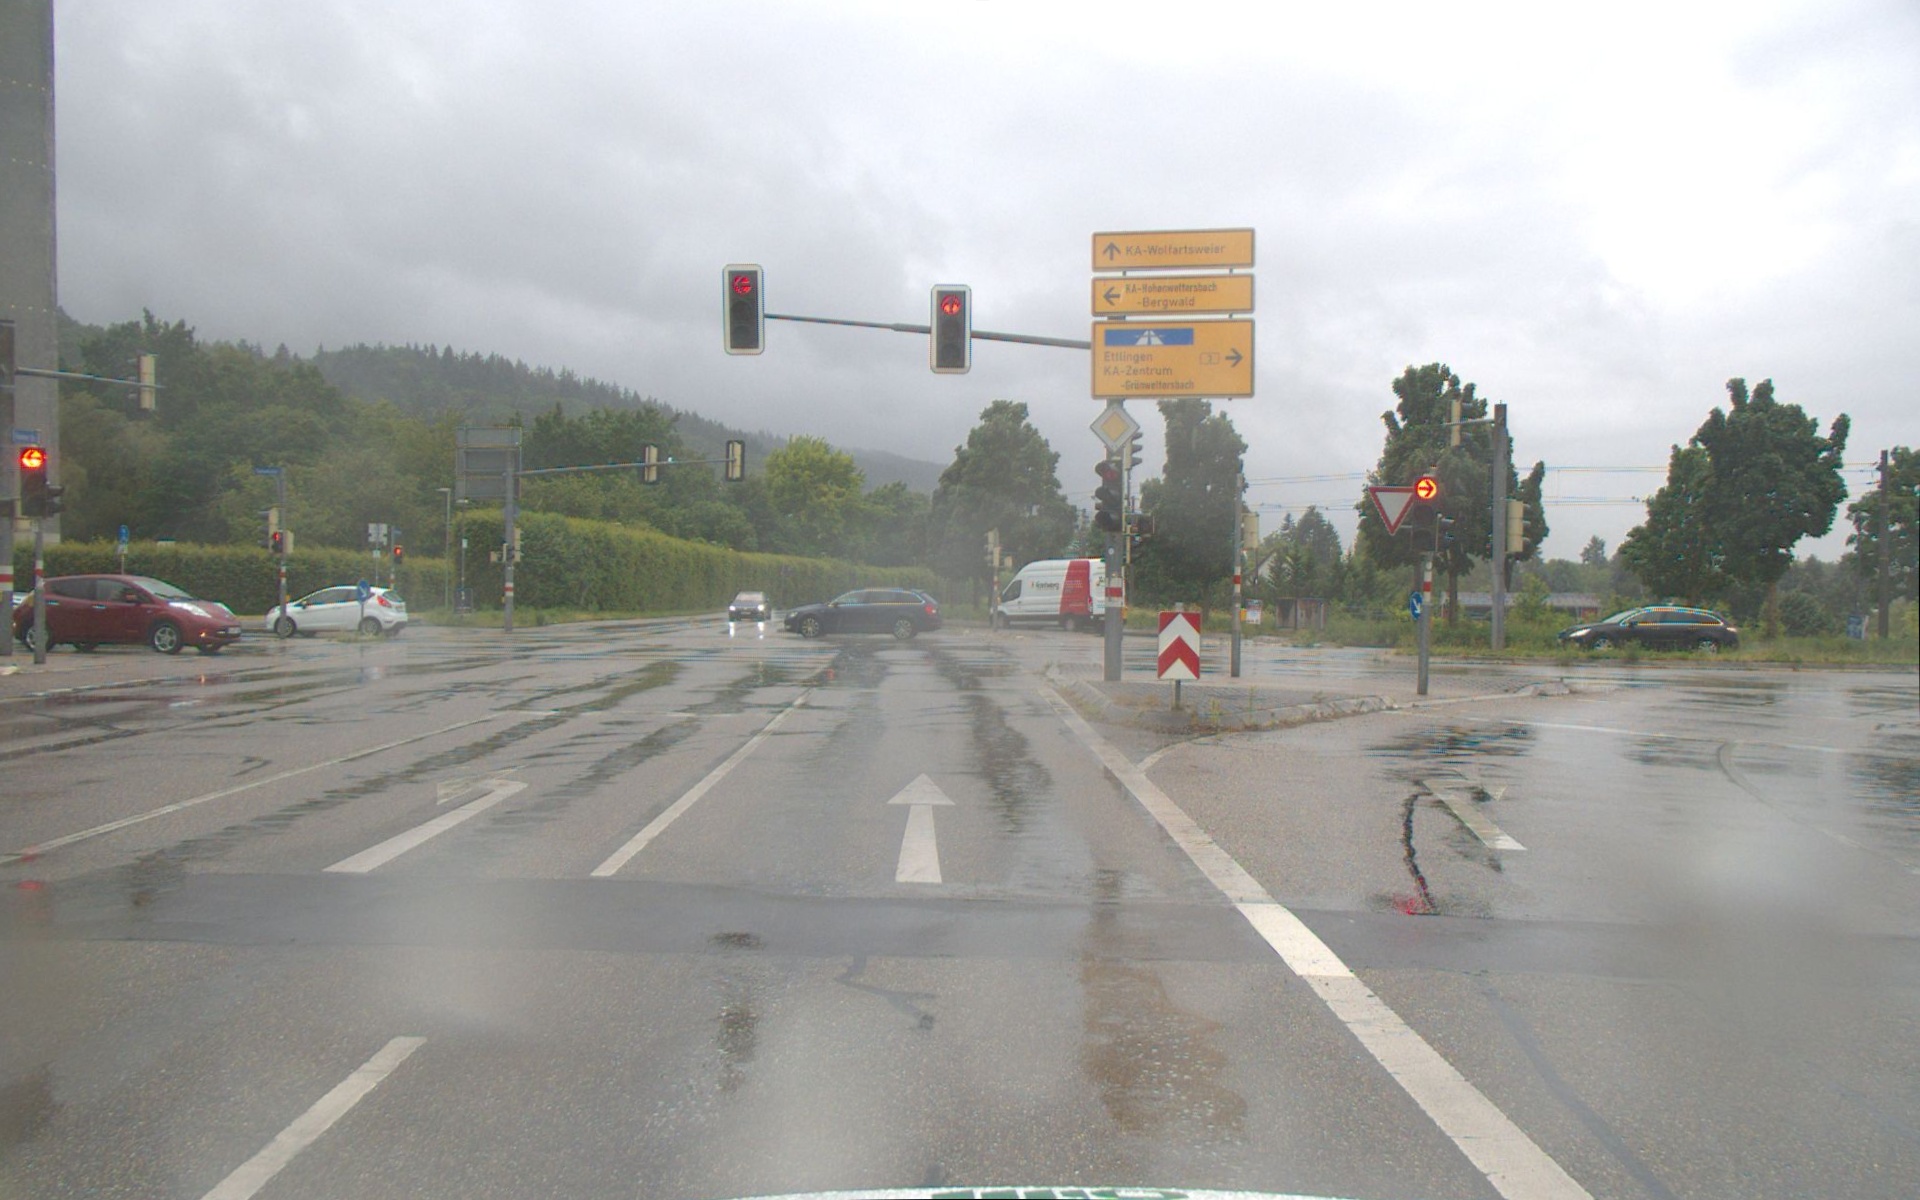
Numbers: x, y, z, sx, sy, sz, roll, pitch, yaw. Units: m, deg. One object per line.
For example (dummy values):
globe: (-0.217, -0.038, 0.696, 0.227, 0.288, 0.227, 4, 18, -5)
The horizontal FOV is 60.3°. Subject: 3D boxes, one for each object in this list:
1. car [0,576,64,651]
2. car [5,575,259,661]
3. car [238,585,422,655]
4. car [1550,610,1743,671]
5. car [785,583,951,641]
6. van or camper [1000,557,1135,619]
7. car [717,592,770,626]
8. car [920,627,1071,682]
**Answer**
car: (-23.002, 0.238, 37.464, 4.431, 1.607, 1.914, 2, 1, 6)
car: (-16.621, 0.343, 33.304, 4.283, 1.607, 1.734, 1, 1, 5)
car: (-18.222, 0.564, 47.970, 4.575, 1.949, 1.915, 0, 1, -2)
car: (18.912, 1.107, 45.718, 4.572, 1.580, 1.823, 0, 1, 2)
car: (-2.607, 0.325, 47.525, 4.572, 1.580, 1.823, 0, 1, 3)
van or camper: (3.935, -0.473, 61.176, 2.143, 2.207, 4.787, 0, 1, -43)
car: (-10.985, 0.427, 84.084, 1.839, 1.601, 4.646, -1, 0, 3)
car: (1.105, 1.648, 50.913, 4.572, 1.580, 1.823, 0, 1, 2)
